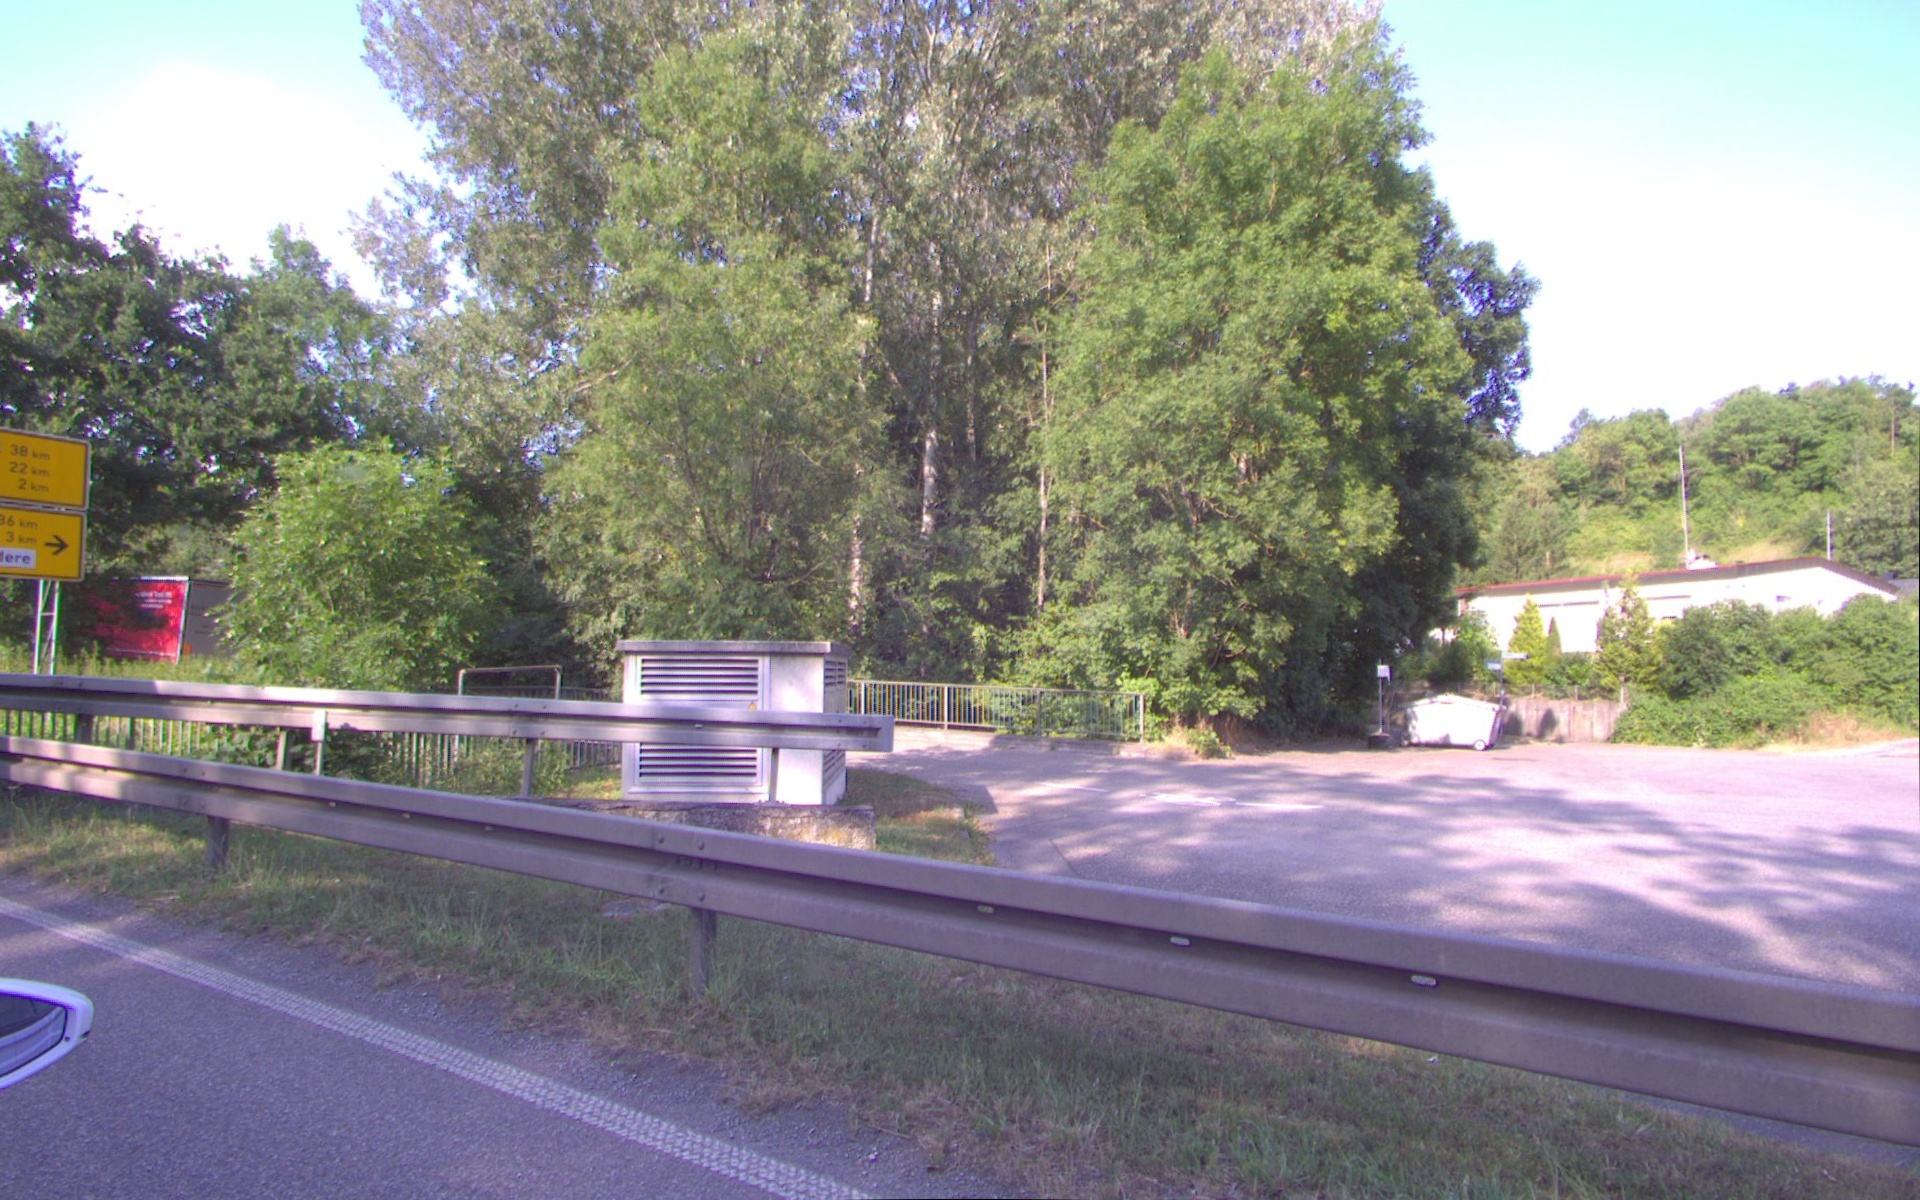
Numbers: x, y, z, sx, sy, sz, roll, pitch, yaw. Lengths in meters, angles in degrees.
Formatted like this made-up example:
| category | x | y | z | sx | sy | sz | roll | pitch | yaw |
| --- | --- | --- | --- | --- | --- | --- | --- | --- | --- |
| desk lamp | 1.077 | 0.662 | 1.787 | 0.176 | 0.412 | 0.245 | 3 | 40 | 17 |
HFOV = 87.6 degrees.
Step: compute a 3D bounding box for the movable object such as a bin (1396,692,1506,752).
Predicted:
| category | x | y | z | sx | sy | sz | roll | pitch | yaw |
| --- | --- | --- | --- | --- | --- | --- | --- | --- | --- |
| movable object such as a bin | 13.082 | 3.230 | 26.696 | 2.521 | 1.436 | 1.265 | -1 | -6 | 32 |
